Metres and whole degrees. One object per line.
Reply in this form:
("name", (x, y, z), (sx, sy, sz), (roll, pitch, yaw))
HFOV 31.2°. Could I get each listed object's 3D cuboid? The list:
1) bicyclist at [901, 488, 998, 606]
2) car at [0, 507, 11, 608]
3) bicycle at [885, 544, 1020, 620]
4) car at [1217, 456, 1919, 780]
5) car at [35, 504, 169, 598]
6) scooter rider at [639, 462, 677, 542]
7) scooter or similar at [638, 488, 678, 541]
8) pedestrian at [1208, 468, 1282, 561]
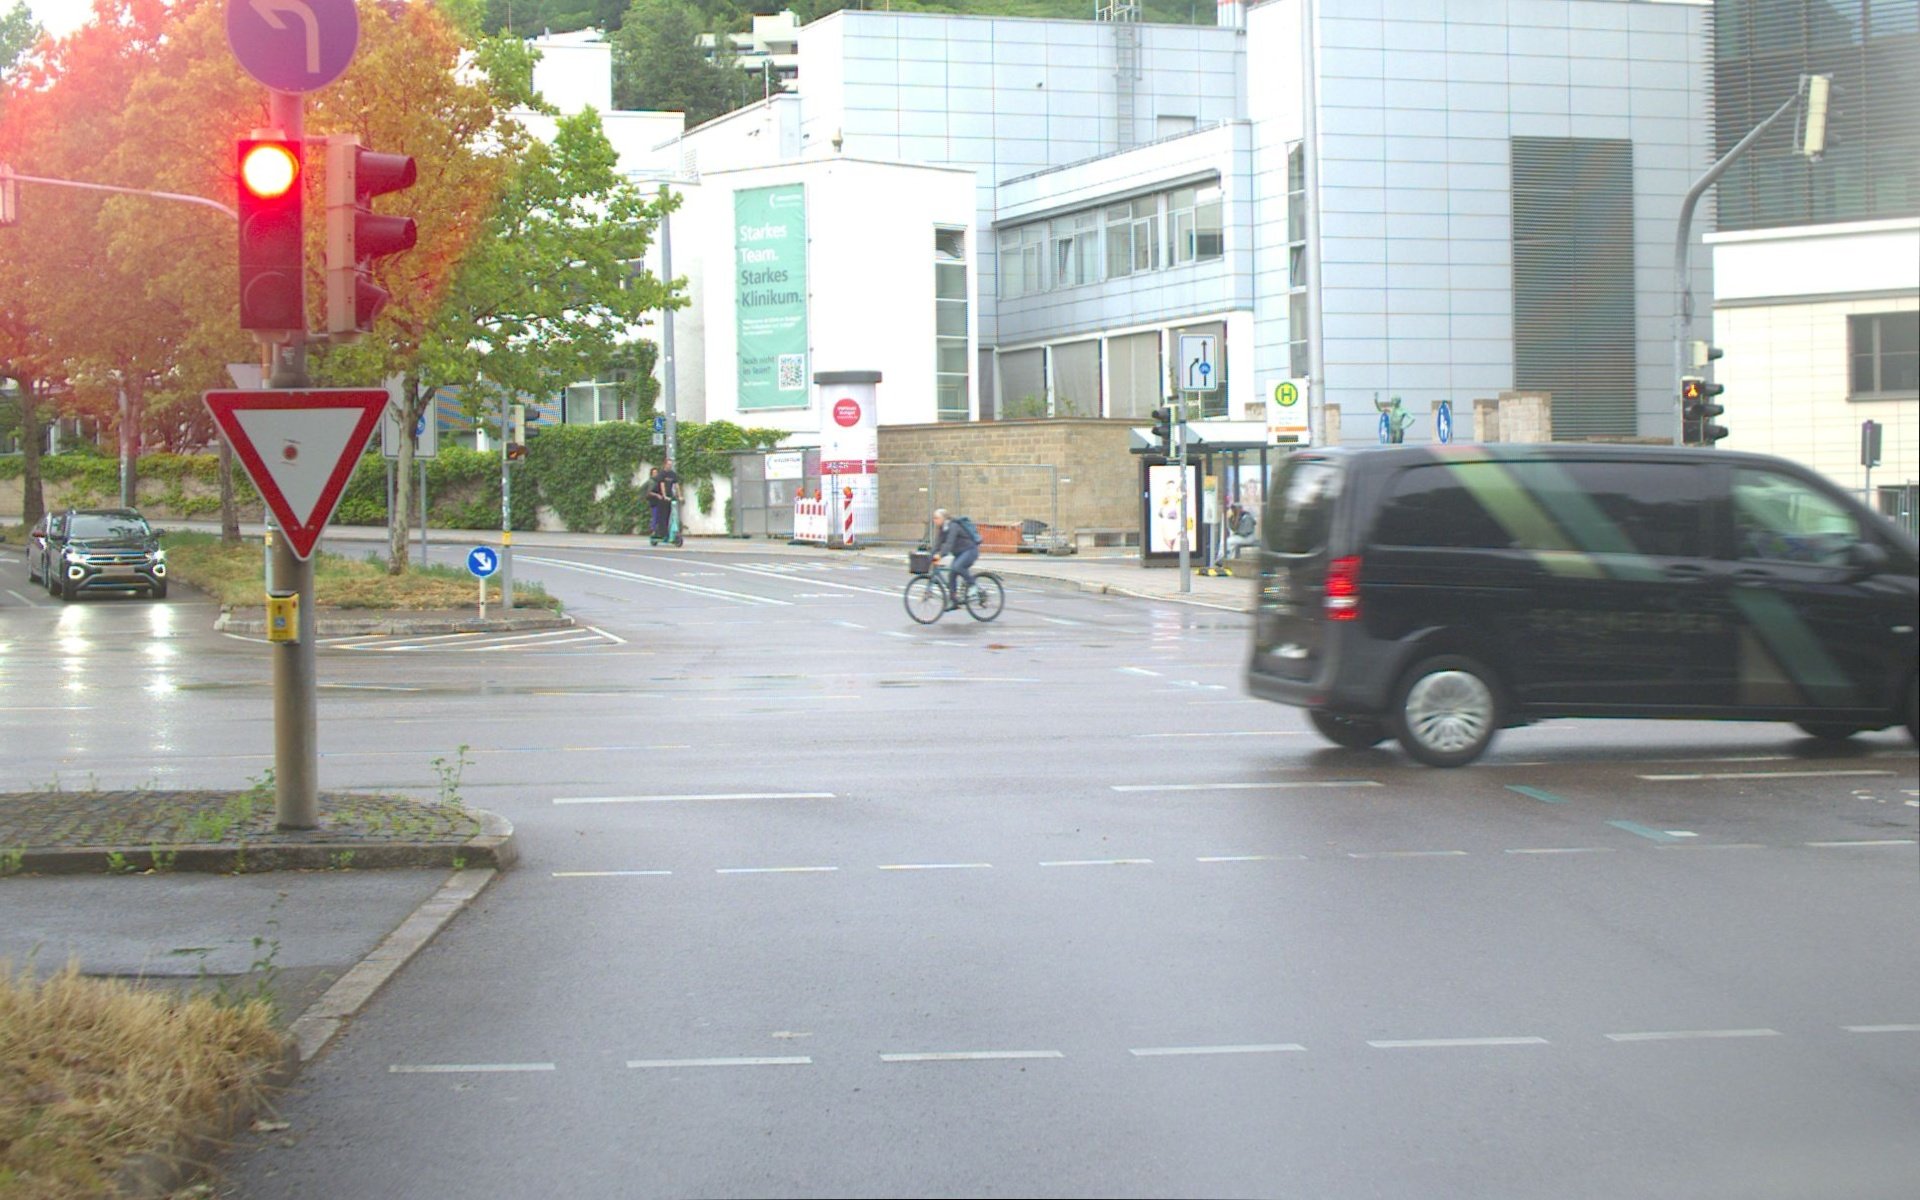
("bicyclist", (-0.148, -0.742, 48.439), (1.125, 1.627, 0.702), (1, 0, -30))
("car", (-16.797, -0.720, 57.031), (1.867, 1.559, 4.278), (-1, 3, -17))
("bicycle", (-0.101, -0.253, 48.510), (1.815, 1.053, 0.648), (0, 1, -30))
("car", (4.143, 0.053, 20.974), (4.770, 1.803, 2.001), (-1, 2, -10))
("car", (-15.245, -0.896, 60.965), (1.788, 1.579, 4.001), (-1, 2, -22))
("scooter rider", (-7.217, -2.338, 82.147), (0.723, 1.877, 0.632), (1, 0, -20))
("scooter or similar", (-7.211, -2.027, 82.143), (0.591, 1.234, 1.314), (1, 0, -21))
("pedestrian", (5.368, -1.603, 64.811), (1.257, 1.713, 1.016), (1, 0, -1))
